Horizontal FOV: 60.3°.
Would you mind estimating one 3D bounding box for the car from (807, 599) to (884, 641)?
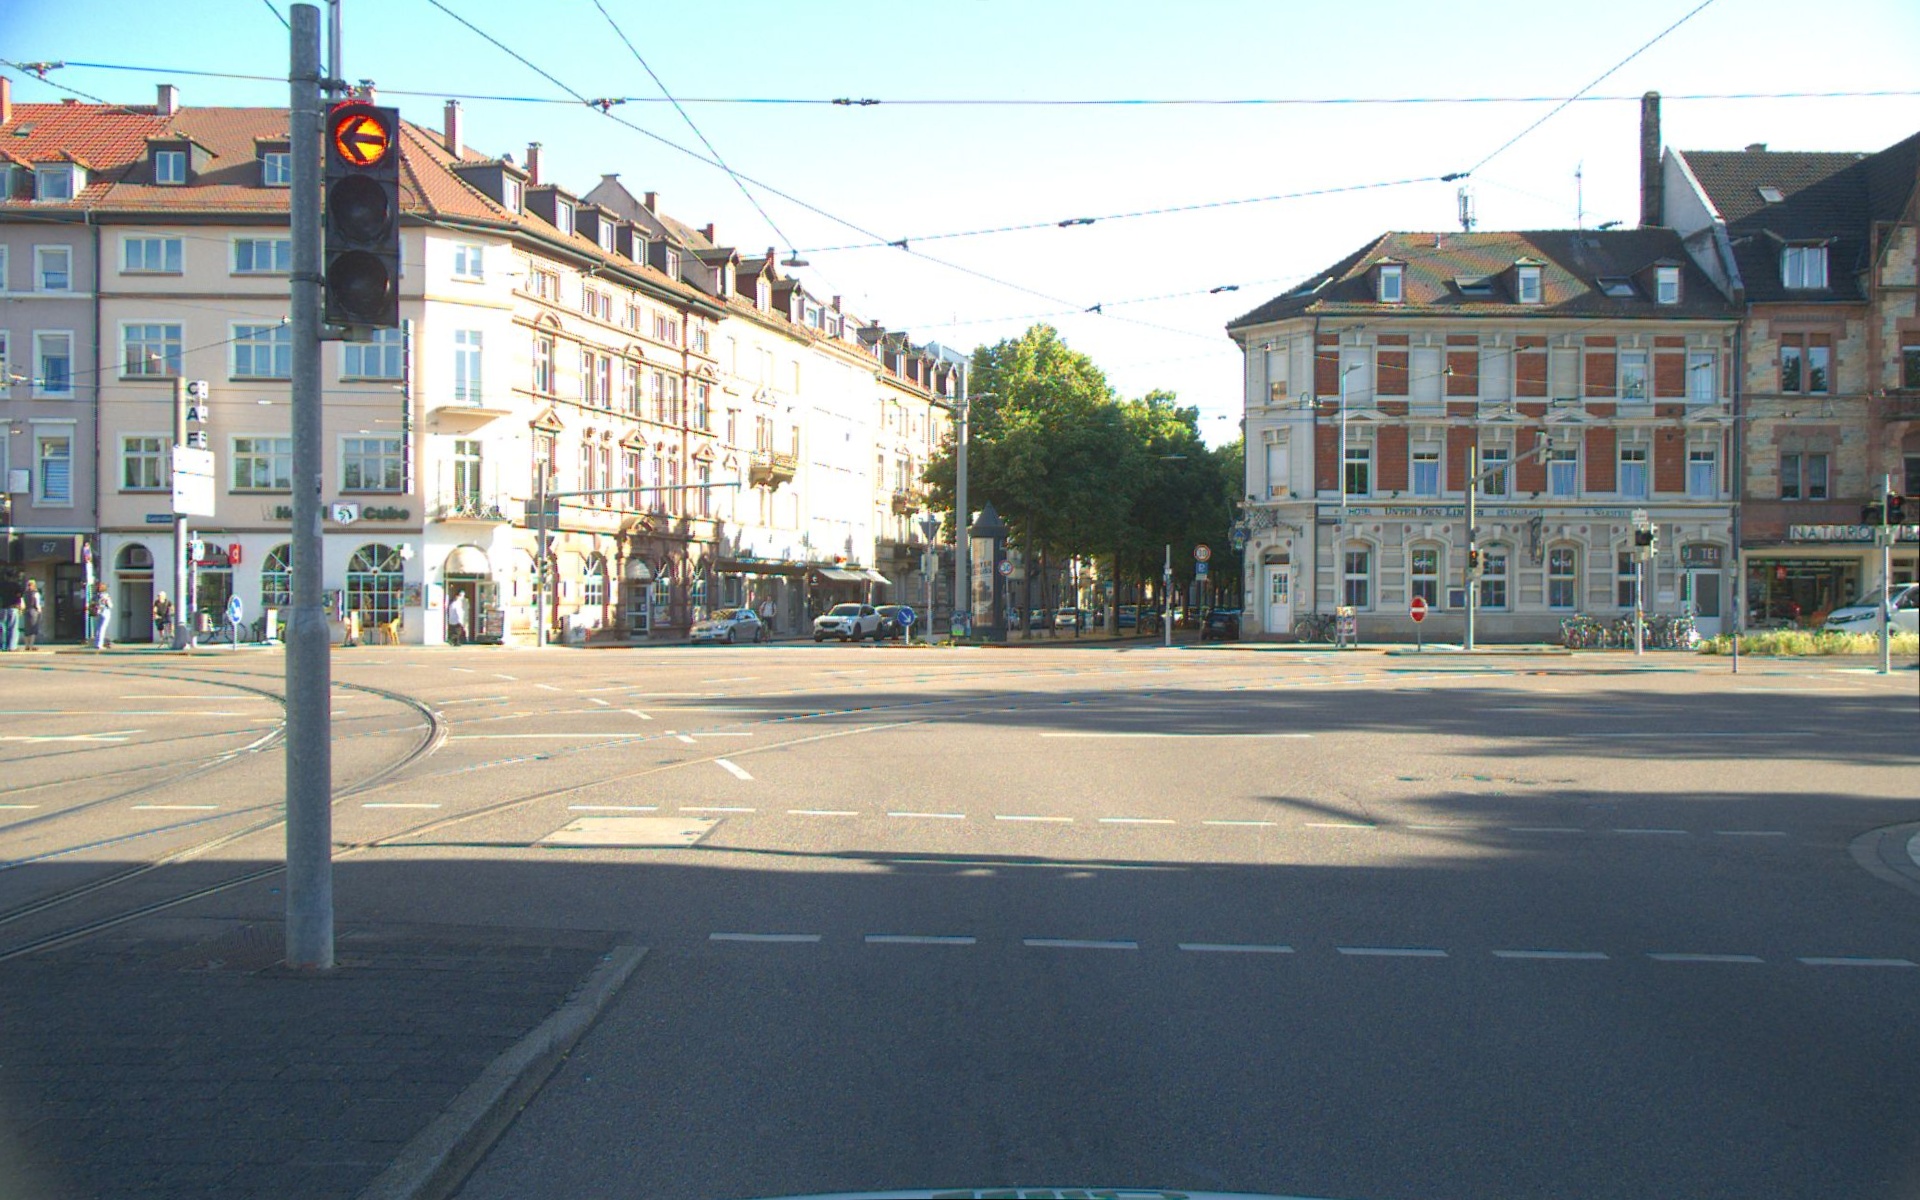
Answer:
[{"bbox_3d":[-4.609,0.811,67.191,1.764,1.613,4.162,1,0,16],"label":"car"}]

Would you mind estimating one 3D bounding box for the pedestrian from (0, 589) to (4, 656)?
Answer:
[{"bbox_3d":[-24.326,0.550,41.226,0.561,1.677,0.727,1,-1,-1],"label":"pedestrian"}]

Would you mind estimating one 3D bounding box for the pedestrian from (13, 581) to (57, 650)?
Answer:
[{"bbox_3d":[-22.940,0.377,41.026,0.571,1.677,0.840,1,-1,-1],"label":"pedestrian"}]

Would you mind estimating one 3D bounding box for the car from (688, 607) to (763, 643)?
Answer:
[{"bbox_3d":[-9.457,0.992,66.879,1.624,1.398,3.894,1,0,14],"label":"car"}]

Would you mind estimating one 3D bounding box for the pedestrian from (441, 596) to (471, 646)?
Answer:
[{"bbox_3d":[-16.917,0.702,55.527,0.556,1.671,0.792,1,-1,22],"label":"pedestrian"}]

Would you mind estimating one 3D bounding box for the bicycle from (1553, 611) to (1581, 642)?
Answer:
[{"bbox_3d":[19.812,0.857,54.031,0.749,0.979,2.211,1,0,17],"label":"bicycle"}]

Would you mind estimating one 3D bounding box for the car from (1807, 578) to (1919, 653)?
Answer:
[{"bbox_3d":[24.898,0.393,42.669,5.093,1.886,2.000,0,0,-1],"label":"car"}]

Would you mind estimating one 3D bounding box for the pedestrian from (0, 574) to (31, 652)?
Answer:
[{"bbox_3d":[-22.954,0.311,40.032,0.516,1.854,0.676,1,-1,-1],"label":"pedestrian"}]

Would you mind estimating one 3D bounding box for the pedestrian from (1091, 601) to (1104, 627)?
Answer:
[{"bbox_3d":[10.759,1.078,129.275,0.923,2.049,0.827,1,-1,14],"label":"pedestrian"}]

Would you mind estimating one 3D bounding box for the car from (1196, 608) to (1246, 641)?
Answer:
[{"bbox_3d":[13.076,1.195,82.698,1.719,1.583,4.001,1,0,20],"label":"car"}]

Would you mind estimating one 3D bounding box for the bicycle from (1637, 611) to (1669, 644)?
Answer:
[{"bbox_3d":[22.476,0.890,53.664,0.749,1.025,2.221,1,0,17],"label":"bicycle"}]

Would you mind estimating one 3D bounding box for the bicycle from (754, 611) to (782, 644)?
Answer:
[{"bbox_3d":[-7.544,1.059,64.979,0.553,1.276,1.558,1,0,14],"label":"bicycle"}]

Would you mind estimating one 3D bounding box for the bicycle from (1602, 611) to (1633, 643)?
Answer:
[{"bbox_3d":[21.355,0.883,53.733,0.749,1.001,2.211,1,0,17],"label":"bicycle"}]

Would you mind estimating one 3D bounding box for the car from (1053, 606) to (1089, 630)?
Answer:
[{"bbox_3d":[7.698,1.268,114.629,1.764,1.603,3.893,1,0,15],"label":"car"}]

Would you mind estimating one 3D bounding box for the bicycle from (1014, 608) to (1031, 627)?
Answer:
[{"bbox_3d":[4.172,1.146,110.032,0.659,1.228,1.822,1,0,17],"label":"bicycle"}]

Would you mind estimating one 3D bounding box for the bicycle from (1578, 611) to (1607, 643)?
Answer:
[{"bbox_3d":[20.566,0.870,53.794,0.749,0.985,2.211,1,0,17],"label":"bicycle"}]

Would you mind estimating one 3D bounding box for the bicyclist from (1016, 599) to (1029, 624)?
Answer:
[{"bbox_3d":[4.178,0.767,110.038,0.659,1.595,0.748,1,-1,17],"label":"bicyclist"}]

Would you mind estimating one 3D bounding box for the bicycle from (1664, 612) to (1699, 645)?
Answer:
[{"bbox_3d":[23.338,0.903,53.524,0.775,1.033,2.211,1,0,17],"label":"bicycle"}]

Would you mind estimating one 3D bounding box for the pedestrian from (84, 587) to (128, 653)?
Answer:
[{"bbox_3d":[-21.222,0.499,41.118,0.655,1.622,0.815,1,-1,-1],"label":"pedestrian"}]

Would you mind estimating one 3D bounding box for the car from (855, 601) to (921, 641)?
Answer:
[{"bbox_3d":[-3.184,0.937,73.547,1.786,1.715,3.877,1,0,16],"label":"car"}]

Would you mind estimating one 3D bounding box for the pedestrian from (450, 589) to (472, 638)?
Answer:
[{"bbox_3d":[-17.586,0.477,58.291,0.584,1.705,0.490,1,-1,-43],"label":"pedestrian"}]

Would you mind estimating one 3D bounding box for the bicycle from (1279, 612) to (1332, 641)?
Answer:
[{"bbox_3d":[11.984,0.906,57.284,1.764,0.979,0.604,1,0,14],"label":"bicycle"}]

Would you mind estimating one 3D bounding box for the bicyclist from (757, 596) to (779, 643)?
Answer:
[{"bbox_3d":[-7.547,0.770,64.989,0.553,1.835,0.915,1,-1,14],"label":"bicyclist"}]

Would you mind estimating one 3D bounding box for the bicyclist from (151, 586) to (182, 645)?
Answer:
[{"bbox_3d":[-24.888,0.480,51.877,0.608,1.822,0.615,1,-1,4],"label":"bicyclist"}]

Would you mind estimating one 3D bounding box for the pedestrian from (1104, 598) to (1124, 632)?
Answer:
[{"bbox_3d":[9.430,0.903,101.521,0.945,2.049,0.915,1,-1,-14],"label":"pedestrian"}]

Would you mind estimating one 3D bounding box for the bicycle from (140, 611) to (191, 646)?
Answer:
[{"bbox_3d":[-24.896,0.878,51.853,0.608,1.048,1.755,1,0,4],"label":"bicycle"}]

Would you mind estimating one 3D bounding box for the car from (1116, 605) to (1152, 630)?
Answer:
[{"bbox_3d":[12.299,1.233,116.653,1.951,1.713,4.003,1,0,15],"label":"car"}]

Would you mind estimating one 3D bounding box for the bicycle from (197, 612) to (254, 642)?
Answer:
[{"bbox_3d":[-25.091,0.921,56.504,1.666,1.000,0.611,1,0,-1],"label":"bicycle"}]
